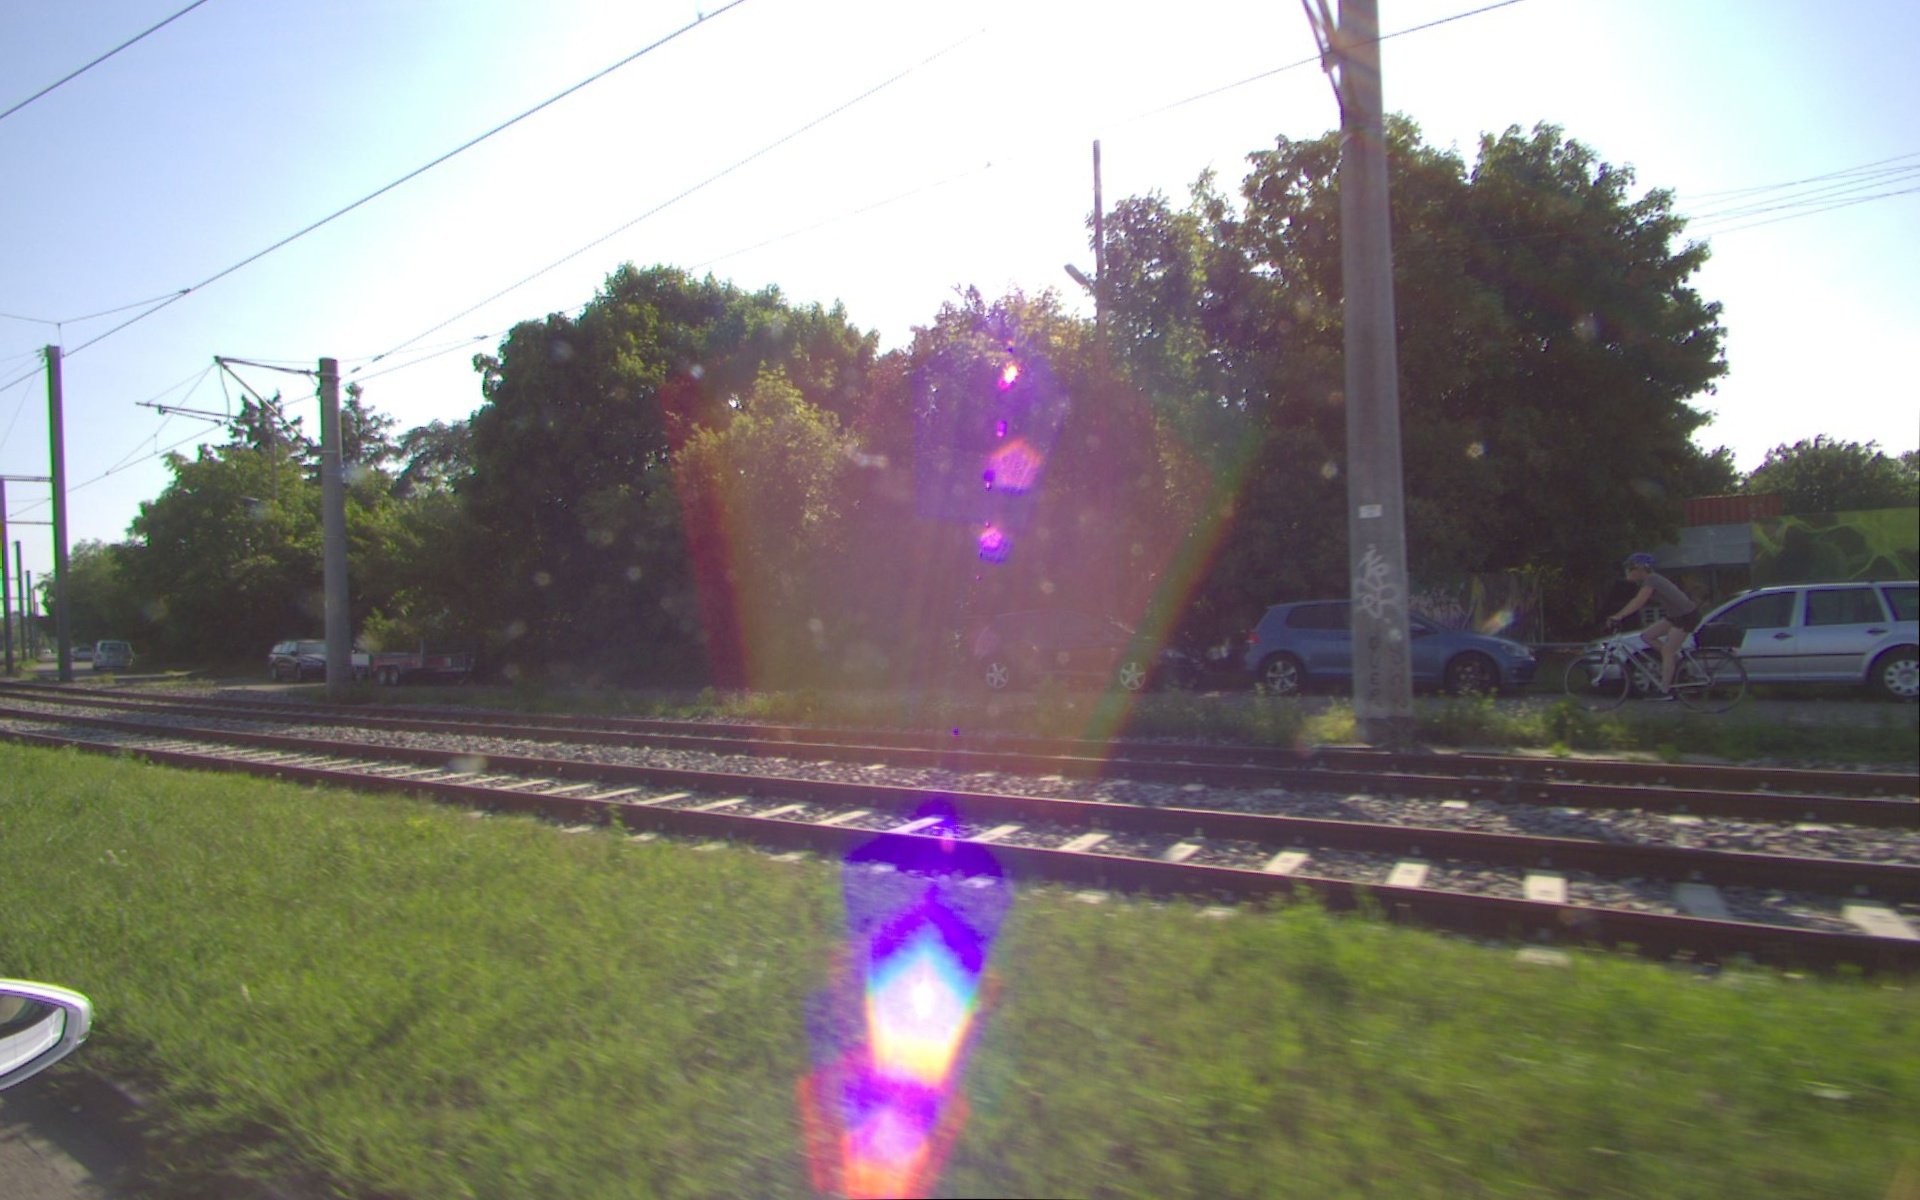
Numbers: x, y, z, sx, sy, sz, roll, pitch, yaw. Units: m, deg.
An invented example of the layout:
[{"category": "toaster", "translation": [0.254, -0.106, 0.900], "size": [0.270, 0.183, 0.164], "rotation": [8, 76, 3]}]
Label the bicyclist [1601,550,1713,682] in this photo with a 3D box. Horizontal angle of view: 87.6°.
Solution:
[{"category": "bicyclist", "translation": [7.946, 0.190, 11.454], "size": [0.948, 1.440, 0.629], "rotation": [-2, -1, 29]}]

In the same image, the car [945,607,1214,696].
[{"category": "car", "translation": [2.057, 0.910, 17.751], "size": [4.454, 1.428, 1.621], "rotation": [-2, -2, 30]}]

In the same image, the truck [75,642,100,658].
[{"category": "truck", "translation": [-107.422, 6.201, 123.284], "size": [2.189, 1.842, 5.876], "rotation": [-1, -1, -43]}]

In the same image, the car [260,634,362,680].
[{"category": "car", "translation": [-22.388, 1.947, 34.470], "size": [4.825, 1.474, 1.691], "rotation": [-2, -3, 41]}]

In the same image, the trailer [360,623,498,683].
[{"category": "trailer", "translation": [-15.435, 1.546, 29.039], "size": [4.207, 1.616, 2.020], "rotation": [-2, -3, 38]}]

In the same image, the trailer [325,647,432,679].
[{"category": "trailer", "translation": [-18.424, 1.981, 31.691], "size": [3.683, 0.951, 1.725], "rotation": [-2, -4, 39]}]

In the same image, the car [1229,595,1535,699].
[{"category": "car", "translation": [6.336, 0.701, 15.255], "size": [4.085, 1.419, 1.483], "rotation": [-2, 0, 27]}]

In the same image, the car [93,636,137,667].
[{"category": "car", "translation": [-57.246, 3.473, 67.817], "size": [1.981, 2.029, 5.021], "rotation": [2, -4, -43]}]

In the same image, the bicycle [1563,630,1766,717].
[{"category": "bicycle", "translation": [7.974, 0.824, 11.442], "size": [1.816, 0.921, 0.642], "rotation": [-2, -1, 29]}]

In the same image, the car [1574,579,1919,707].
[{"category": "car", "translation": [10.562, 0.528, 13.069], "size": [4.328, 1.484, 1.705], "rotation": [-2, 0, 32]}]
